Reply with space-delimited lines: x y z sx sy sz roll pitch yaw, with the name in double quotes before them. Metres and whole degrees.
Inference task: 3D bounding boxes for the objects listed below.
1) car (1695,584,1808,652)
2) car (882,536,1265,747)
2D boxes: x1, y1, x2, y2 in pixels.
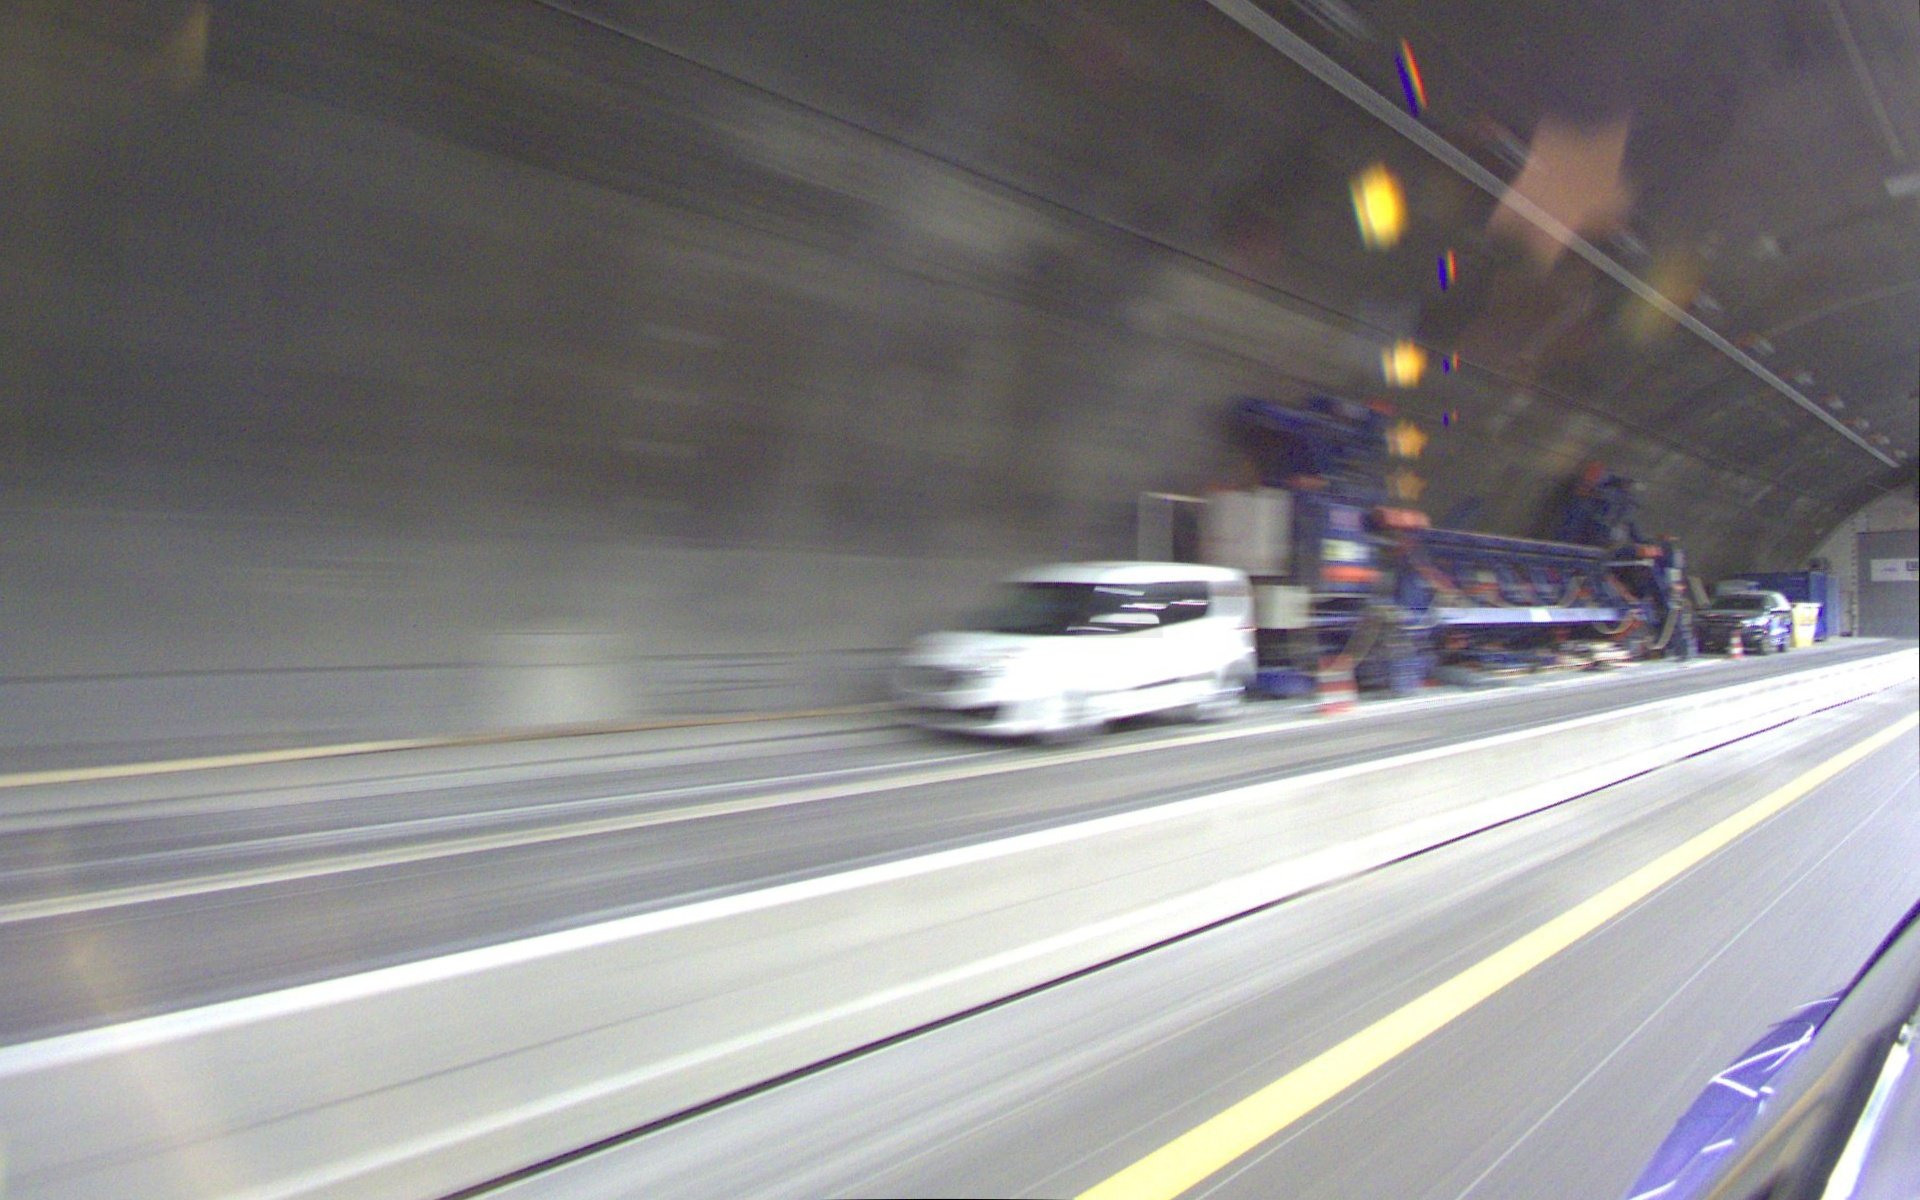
"car" 23.787 0.500 30.315 5.349 1.882 1.830 0 0 -43
"car" 1.450 0.346 11.197 1.752 1.868 4.571 2 1 44
